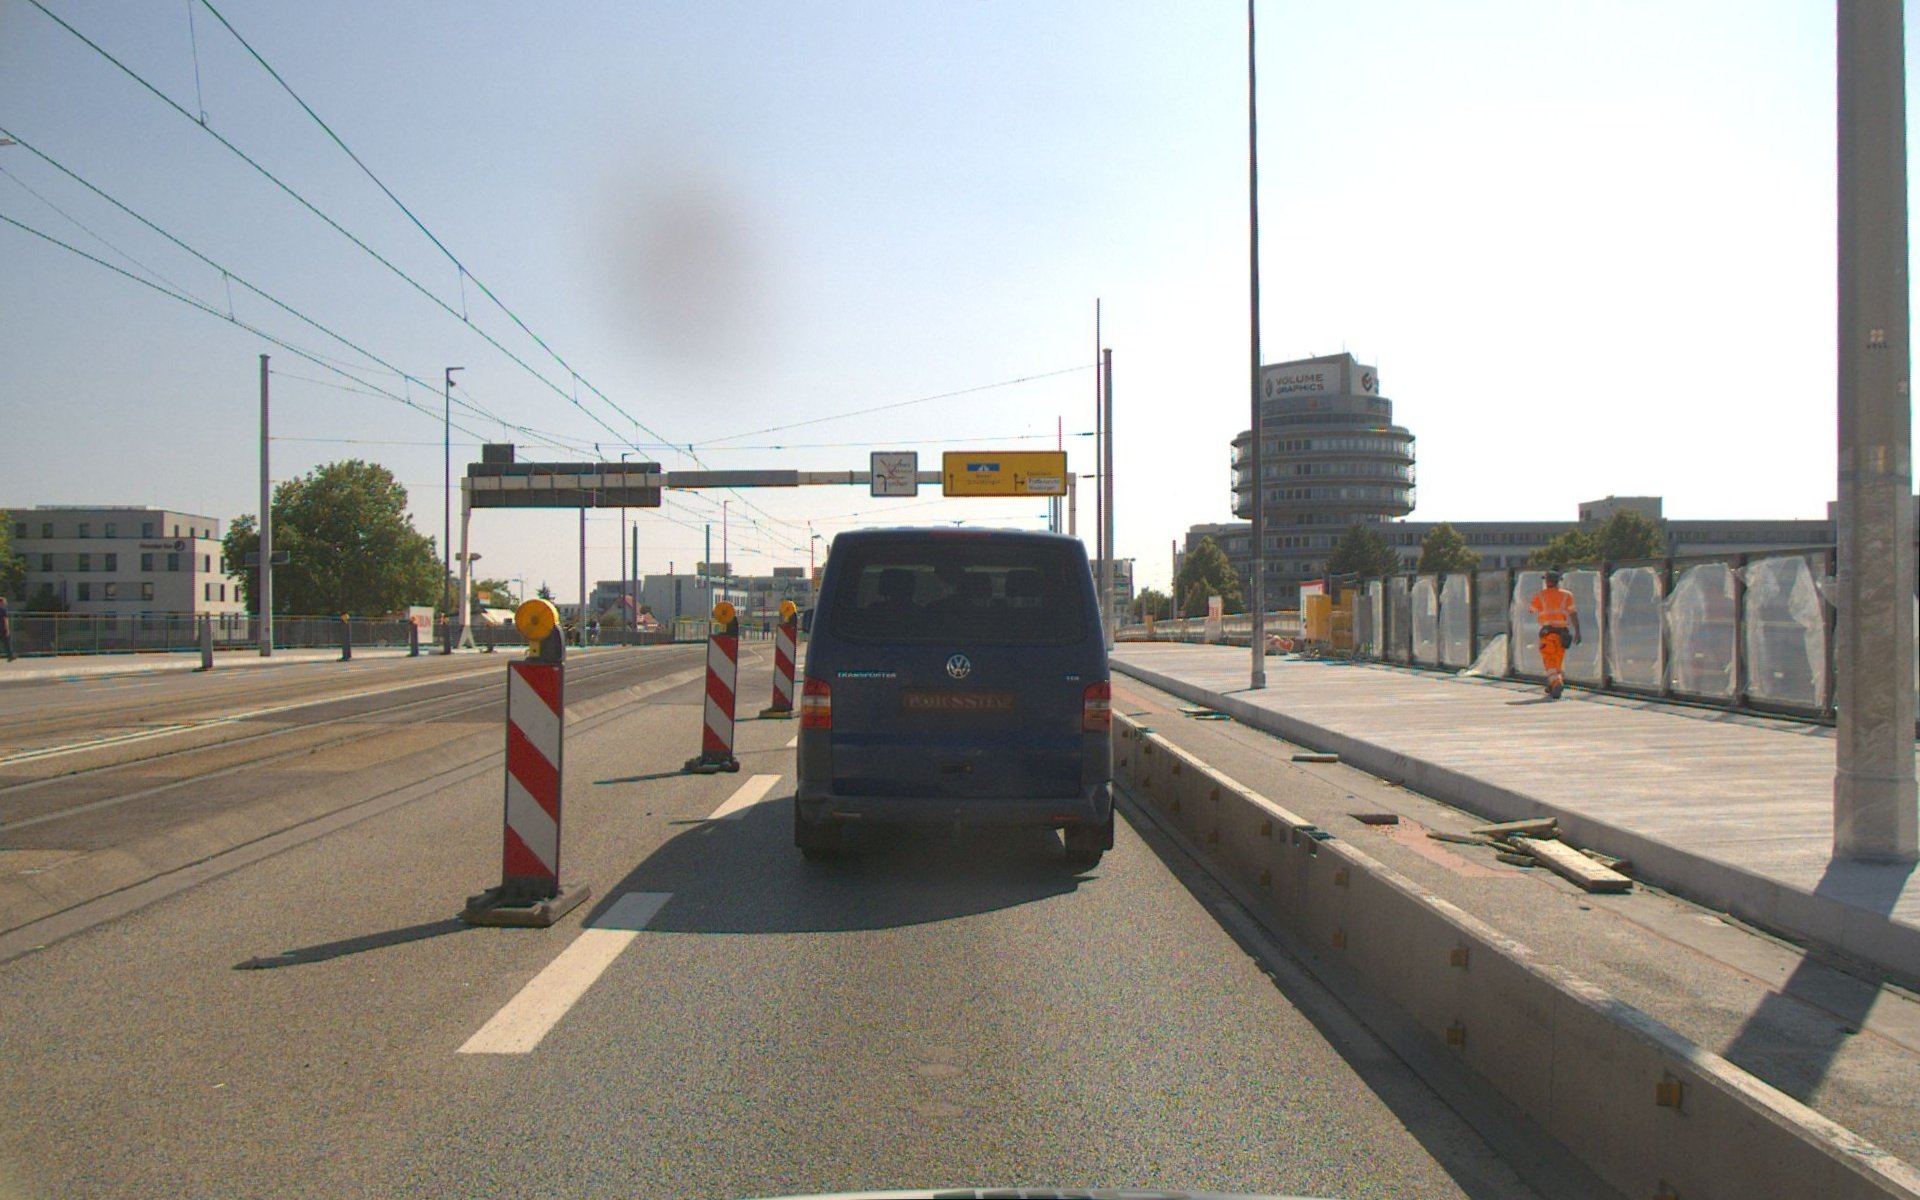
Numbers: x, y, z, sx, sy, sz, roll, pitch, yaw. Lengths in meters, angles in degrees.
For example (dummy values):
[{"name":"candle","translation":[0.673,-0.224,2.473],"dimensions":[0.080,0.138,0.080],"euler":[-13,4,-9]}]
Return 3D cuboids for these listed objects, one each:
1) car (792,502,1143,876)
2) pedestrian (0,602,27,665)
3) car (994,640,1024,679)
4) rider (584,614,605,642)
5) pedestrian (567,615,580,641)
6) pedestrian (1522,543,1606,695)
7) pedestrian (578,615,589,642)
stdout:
[{"name":"car","translation":[0.017,0.506,10.893],"dimensions":[1.849,1.968,3.999],"euler":[1,-1,-1]},{"name":"pedestrian","translation":[-25.730,0.898,44.470],"dimensions":[0.728,1.670,0.895],"euler":[2,-1,-1]},{"name":"car","translation":[3.932,4.738,132.810],"dimensions":[2.290,2.938,5.970],"euler":[1,-1,1]},{"name":"rider","translation":[-23.126,1.747,104.711],"dimensions":[0.748,1.763,2.950],"euler":[1,-1,-1]},{"name":"pedestrian","translation":[-25.280,1.830,108.163],"dimensions":[0.585,1.717,0.818],"euler":[-1,-1,3]},{"name":"pedestrian","translation":[8.223,0.260,22.558],"dimensions":[0.716,1.999,1.016],"euler":[-2,-1,0]},{"name":"pedestrian","translation":[-24.712,1.874,108.461],"dimensions":[0.476,1.717,0.808],"euler":[-1,-1,3]}]
